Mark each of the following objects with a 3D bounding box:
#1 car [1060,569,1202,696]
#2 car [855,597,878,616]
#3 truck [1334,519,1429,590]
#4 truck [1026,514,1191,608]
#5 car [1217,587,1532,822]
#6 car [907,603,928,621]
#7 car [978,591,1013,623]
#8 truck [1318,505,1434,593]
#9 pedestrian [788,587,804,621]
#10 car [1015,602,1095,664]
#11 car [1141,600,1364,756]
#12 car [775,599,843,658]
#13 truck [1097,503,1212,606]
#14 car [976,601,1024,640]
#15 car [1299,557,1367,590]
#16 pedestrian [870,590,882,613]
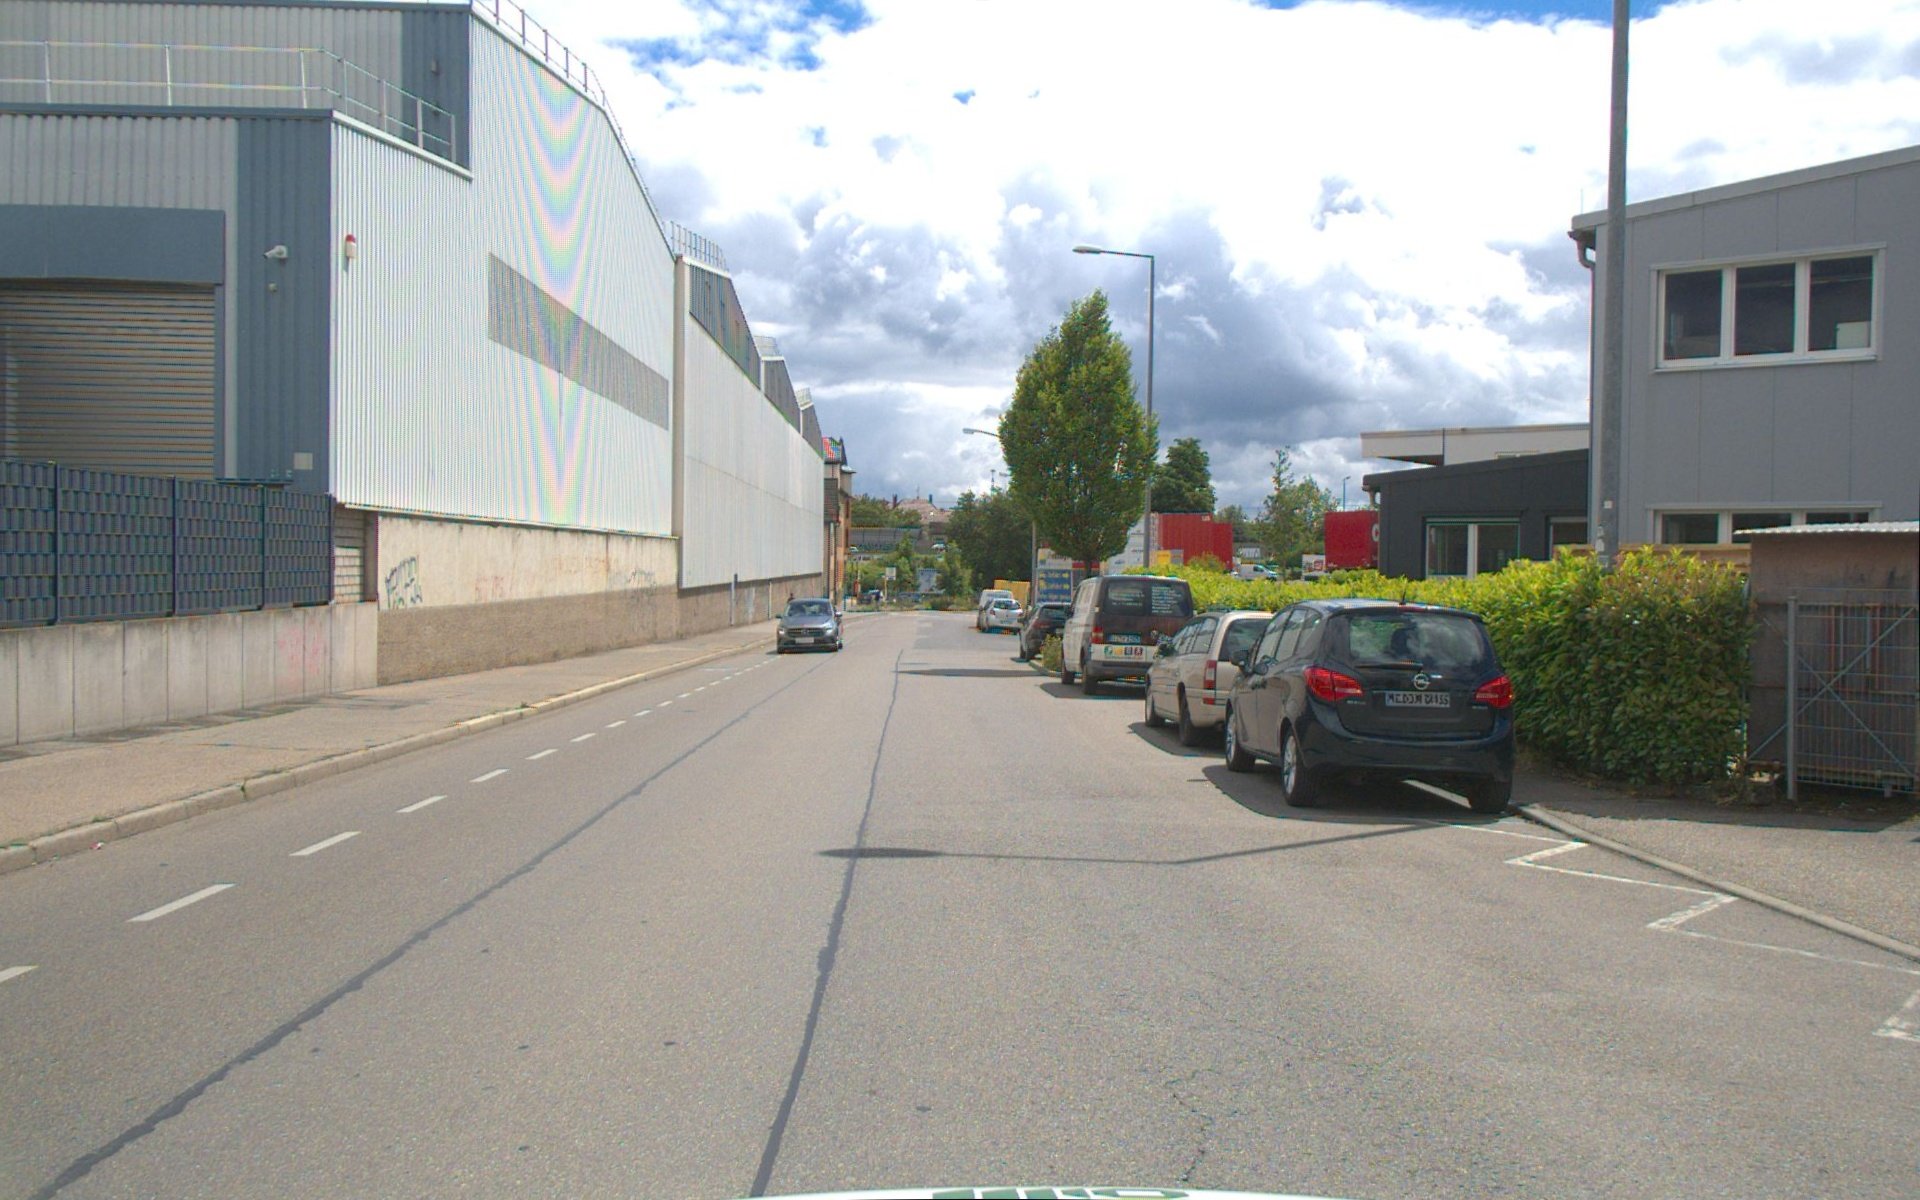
[{"bbox_3d":[2.904,0.537,29.198,1.831,2.025,5.142,1,0,-2],"label":"car"},{"bbox_3d":[-7.901,0.576,139.736,1.815,1.512,3.998,1,-2,-2],"label":"car"},{"bbox_3d":[27.557,-2.899,107.991,2.941,4.131,8.439,-1,-2,38],"label":"truck"},{"bbox_3d":[7.843,-2.000,87.189,8.274,4.753,2.583,0,-2,20],"label":"truck"},{"bbox_3d":[3.358,0.775,14.180,1.645,1.666,4.122,2,0,0],"label":"car"},{"bbox_3d":[-3.907,1.087,151.426,1.815,1.512,3.998,1,-2,-2],"label":"car"},{"bbox_3d":[1.783,0.334,83.948,1.666,1.554,3.738,1,0,0],"label":"car"},{"bbox_3d":[22.288,-2.603,88.243,2.941,4.131,8.439,-1,-2,38],"label":"truck"},{"bbox_3d":[-8.174,0.214,82.467,0.698,1.666,0.777,0,-2,0],"label":"pedestrian"},{"bbox_3d":[2.405,0.825,42.905,1.679,1.499,4.509,1,0,-2],"label":"car"},{"bbox_3d":[3.220,0.795,19.102,1.622,1.567,4.732,1,0,-2],"label":"car"},{"bbox_3d":[-4.404,0.855,48.851,1.685,1.583,4.286,-3,-1,-2],"label":"car"},{"bbox_3d":[9.339,-2.082,80.369,2.535,4.527,7.820,1,-2,-18],"label":"truck"},{"bbox_3d":[1.746,0.877,73.157,1.668,1.554,3.734,3,0,-5],"label":"car"},{"bbox_3d":[32.156,-2.232,142.520,5.522,2.724,2.000,0,-2,20],"label":"car"},{"bbox_3d":[-6.262,0.109,123.206,0.835,1.692,0.860,0,-2,3],"label":"pedestrian"}]
